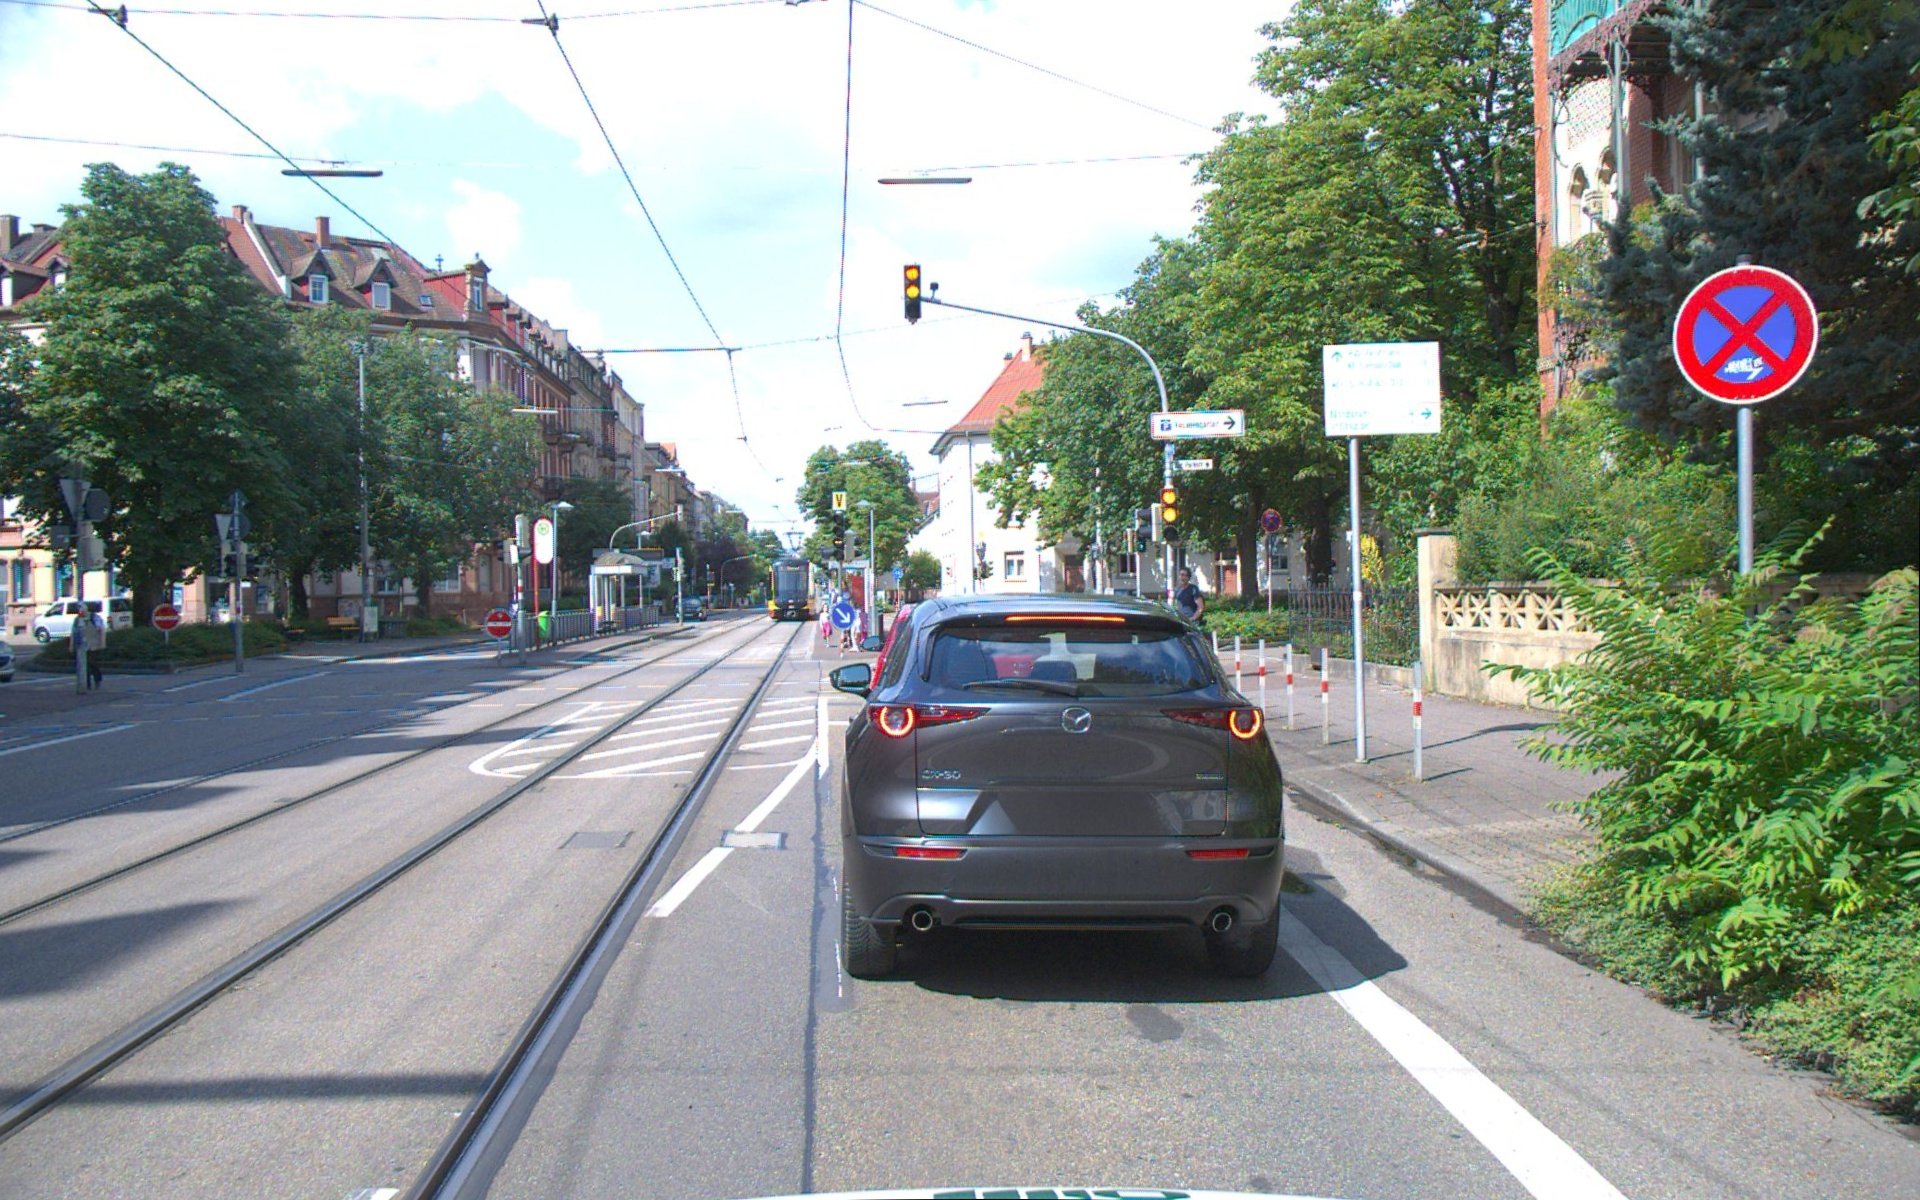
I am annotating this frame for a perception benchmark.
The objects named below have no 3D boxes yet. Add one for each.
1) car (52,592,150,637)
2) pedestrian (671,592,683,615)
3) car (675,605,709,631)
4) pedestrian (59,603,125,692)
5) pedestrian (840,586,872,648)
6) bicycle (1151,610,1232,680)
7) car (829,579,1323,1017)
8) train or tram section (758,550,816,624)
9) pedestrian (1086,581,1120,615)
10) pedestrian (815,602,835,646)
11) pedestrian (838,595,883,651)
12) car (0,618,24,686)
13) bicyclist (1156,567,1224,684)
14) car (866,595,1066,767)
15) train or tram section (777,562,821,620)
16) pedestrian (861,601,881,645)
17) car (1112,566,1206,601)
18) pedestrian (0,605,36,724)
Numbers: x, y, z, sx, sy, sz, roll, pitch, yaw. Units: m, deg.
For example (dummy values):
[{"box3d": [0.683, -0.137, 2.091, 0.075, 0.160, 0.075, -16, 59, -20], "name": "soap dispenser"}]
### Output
[{"box3d": [-39.937, 0.657, 76.909, 3.853, 2.023, 1.857, -1, 0, 19], "name": "car"}, {"box3d": [-20.877, 0.261, 121.958, 0.772, 1.718, 0.731, -1, 0, -3], "name": "pedestrian"}, {"box3d": [-16.301, 1.077, 100.829, 1.592, 1.411, 3.434, -3, 1, -3], "name": "car"}, {"box3d": [-17.023, 0.925, 32.443, 0.837, 1.702, 0.821, -1, 0, -3], "name": "pedestrian"}, {"box3d": [-2.691, 0.434, 42.756, 0.714, 1.593, 0.797, -1, 0, -9], "name": "pedestrian"}, {"box3d": [3.792, 0.717, 27.001, 0.382, 1.053, 1.836, -1, 1, 39], "name": "bicycle"}, {"box3d": [0.403, 0.716, 7.917, 1.746, 1.540, 3.999, 1, 0, -1], "name": "car"}, {"box3d": [-10.139, -0.641, 98.019, 2.939, 4.053, 13.796, -1, -1, -4], "name": "train or tram section"}, {"box3d": [5.687, -0.081, 65.909, 1.170, 1.291, 0.557, -3, 0, -10], "name": "pedestrian"}, {"box3d": [-3.504, 0.617, 42.928, 0.413, 1.127, 0.438, -3, 0, -2], "name": "pedestrian"}, {"box3d": [-2.493, 0.573, 41.614, 0.809, 1.326, 0.717, -3, 0, 27], "name": "pedestrian"}, {"box3d": [-22.446, 1.170, 36.647, 3.800, 1.445, 1.713, -1, 0, 39], "name": "car"}, {"box3d": [3.738, 0.400, 26.895, 0.724, 1.851, 0.813, -1, 0, -27], "name": "bicyclist"}, {"box3d": [-0.054, 0.703, 16.372, 1.740, 1.489, 3.840, 0, 0, -3], "name": "car"}, {"box3d": [-12.103, -0.556, 125.502, 2.939, 4.053, 13.796, -1, -1, -4], "name": "train or tram section"}, {"box3d": [-2.341, 0.589, 43.391, 0.433, 1.133, 0.643, -1, 0, 3], "name": "pedestrian"}, {"box3d": [9.463, -0.786, 78.843, 4.091, 1.536, 1.844, -1, 2, 38], "name": "car"}, {"box3d": [-14.523, 0.951, 24.854, 0.741, 1.734, 0.873, 3, 0, -5], "name": "pedestrian"}]
